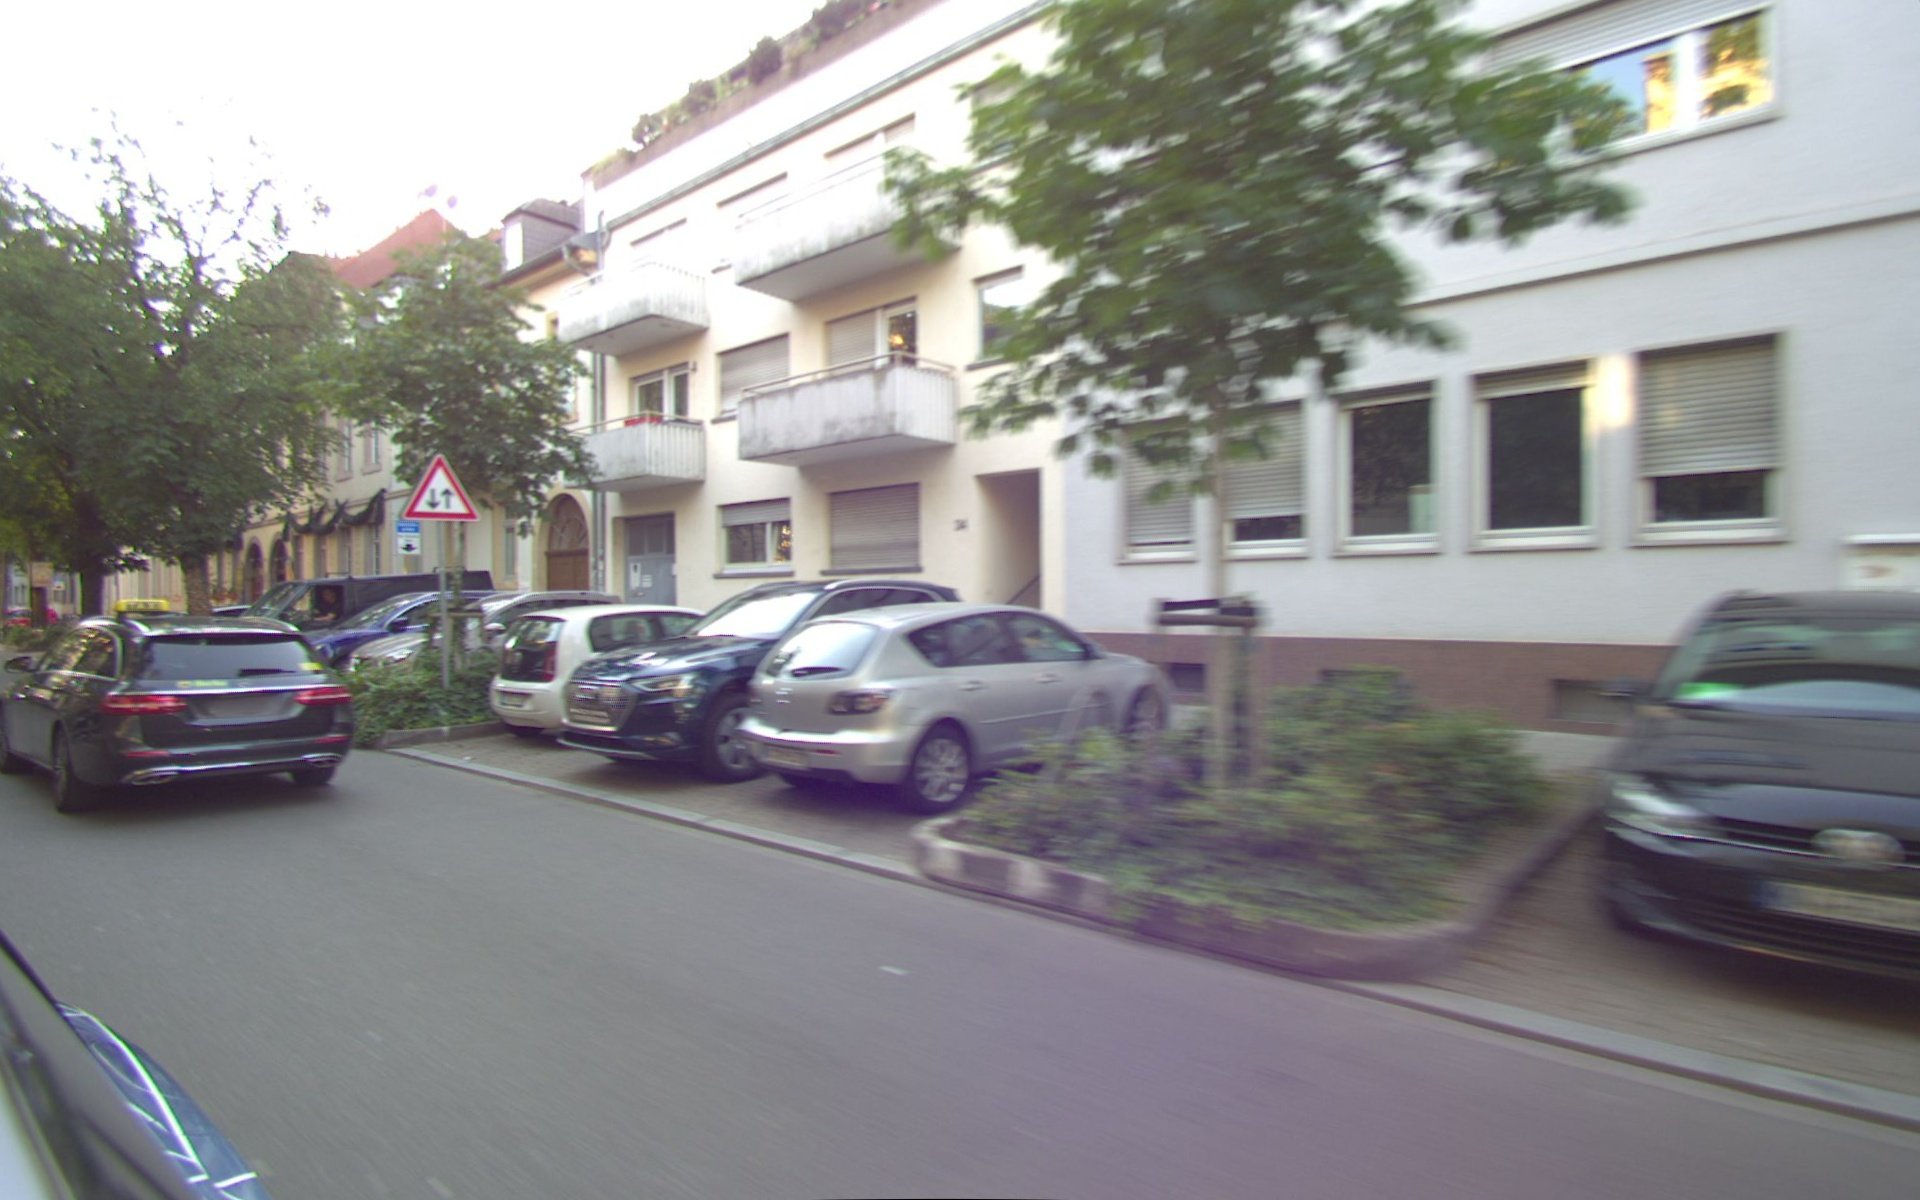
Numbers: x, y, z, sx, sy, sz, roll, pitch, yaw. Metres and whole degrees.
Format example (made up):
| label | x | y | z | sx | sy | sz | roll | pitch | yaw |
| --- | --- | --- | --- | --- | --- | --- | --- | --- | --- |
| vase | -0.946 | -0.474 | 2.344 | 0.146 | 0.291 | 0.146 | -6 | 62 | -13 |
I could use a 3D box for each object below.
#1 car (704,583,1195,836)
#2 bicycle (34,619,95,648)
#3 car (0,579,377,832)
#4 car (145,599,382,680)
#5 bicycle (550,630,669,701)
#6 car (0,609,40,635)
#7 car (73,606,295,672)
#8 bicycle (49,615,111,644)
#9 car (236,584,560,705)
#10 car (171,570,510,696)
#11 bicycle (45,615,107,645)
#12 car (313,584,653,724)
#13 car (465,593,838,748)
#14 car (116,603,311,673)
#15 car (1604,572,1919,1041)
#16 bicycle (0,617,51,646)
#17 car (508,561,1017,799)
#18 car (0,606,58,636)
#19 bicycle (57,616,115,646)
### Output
| label | x | y | z | sx | sy | sz | roll | pitch | yaw |
| --- | --- | --- | --- | --- | --- | --- | --- | --- | --- |
| car | 0.106 | 0.673 | 8.447 | 1.781 | 1.505 | 3.983 | -1 | 2 | 45 |
| bicycle | -37.620 | 1.386 | 42.544 | 0.479 | 1.107 | 1.847 | 0 | 1 | 35 |
| car | -7.001 | 0.719 | 8.851 | 4.643 | 1.653 | 1.857 | -1 | -1 | 41 |
| car | -16.466 | 0.859 | 24.107 | 1.771 | 1.550 | 4.309 | 1 | 3 | 41 |
| bicycle | -4.861 | 0.877 | 13.995 | 1.813 | 0.880 | 0.739 | -1 | 1 | 41 |
| car | -55.670 | 1.330 | 58.484 | 1.589 | 1.430 | 3.509 | -1 | 2 | 39 |
| car | -20.541 | 0.964 | 26.962 | 1.716 | 1.417 | 4.383 | 1 | 2 | 38 |
| bicycle | -36.545 | 1.217 | 42.035 | 0.508 | 1.107 | 1.847 | 0 | 1 | 35 |
| car | -9.251 | 0.633 | 16.947 | 1.930 | 1.584 | 4.309 | -1 | 2 | 41 |
| car | -11.274 | 0.535 | 18.734 | 2.188 | 2.006 | 4.939 | -1 | -1 | 41 |
| bicycle | -36.146 | 1.210 | 41.412 | 0.479 | 1.107 | 1.847 | 0 | 1 | 35 |
| car | -6.893 | 0.668 | 14.965 | 1.823 | 1.603 | 4.112 | -1 | 2 | 41 |
| car | -3.504 | 0.708 | 11.979 | 1.854 | 1.462 | 3.805 | -2 | 0 | 41 |
| car | -18.660 | 0.890 | 25.404 | 1.658 | 1.460 | 3.646 | -1 | 2 | 41 |
| car | 4.444 | 0.626 | 4.724 | 1.755 | 1.451 | 4.031 | -1 | 1 | 42 |
| bicycle | -38.933 | 1.311 | 41.918 | 0.479 | 1.106 | 1.847 | 0 | 1 | 35 |
| car | -1.696 | 0.560 | 10.047 | 2.155 | 1.778 | 4.618 | -1 | 1 | 41 |
| car | -49.411 | 1.125 | 52.661 | 1.671 | 1.416 | 3.454 | -1 | 2 | 39 |
| bicycle | -35.002 | 1.214 | 40.539 | 0.479 | 1.107 | 1.692 | 0 | 1 | 35 |
